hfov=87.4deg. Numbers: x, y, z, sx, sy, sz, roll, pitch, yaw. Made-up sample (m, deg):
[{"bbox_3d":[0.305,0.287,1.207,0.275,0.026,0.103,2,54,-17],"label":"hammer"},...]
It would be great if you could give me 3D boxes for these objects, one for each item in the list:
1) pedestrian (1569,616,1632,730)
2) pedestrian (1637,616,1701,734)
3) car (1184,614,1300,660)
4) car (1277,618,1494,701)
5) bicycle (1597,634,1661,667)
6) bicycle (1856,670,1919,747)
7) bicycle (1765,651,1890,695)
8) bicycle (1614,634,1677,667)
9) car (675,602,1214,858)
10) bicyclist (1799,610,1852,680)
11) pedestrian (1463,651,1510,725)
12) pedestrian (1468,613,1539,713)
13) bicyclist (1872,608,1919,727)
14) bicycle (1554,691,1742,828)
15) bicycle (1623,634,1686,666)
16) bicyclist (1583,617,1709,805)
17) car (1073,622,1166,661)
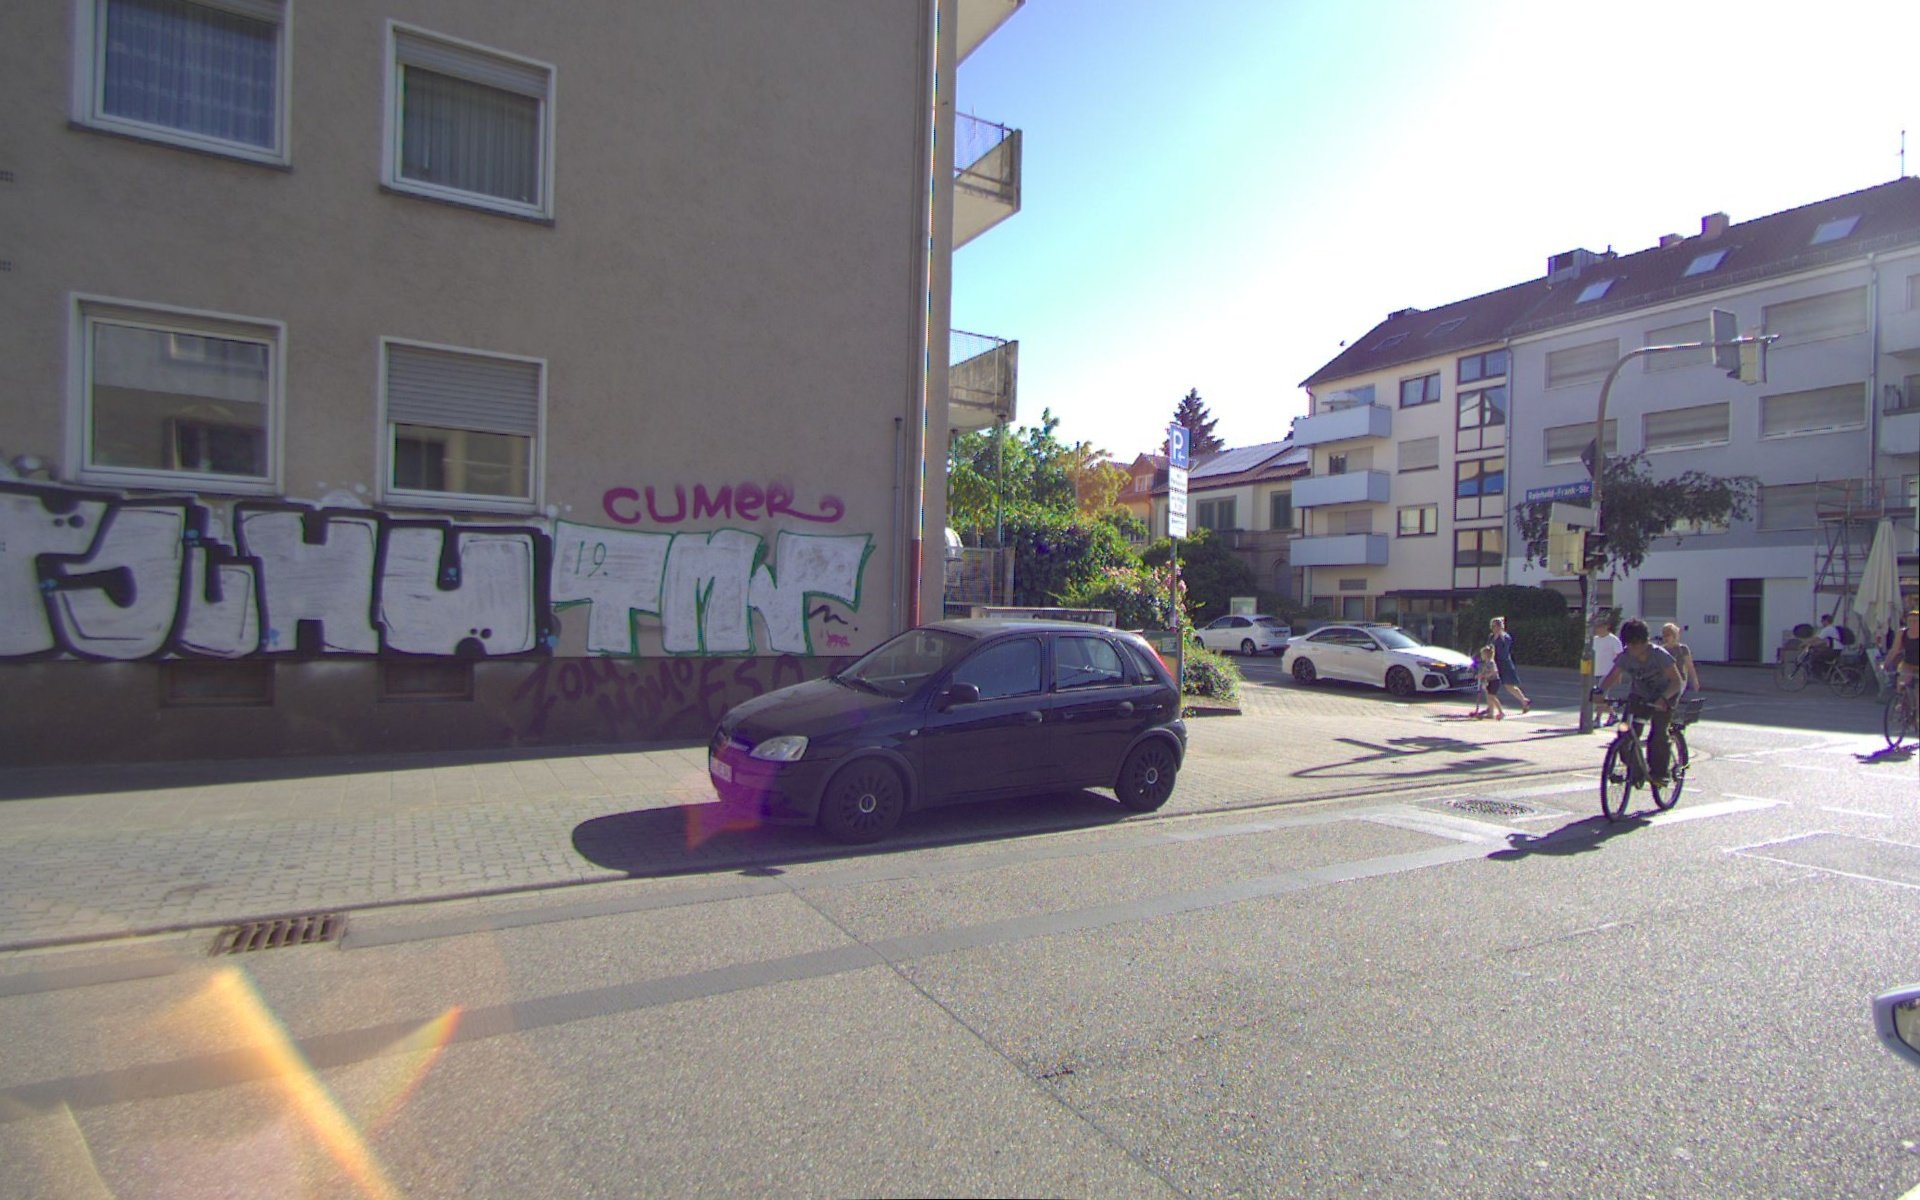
[{"bbox_3d":[9.956,1.113,15.621,0.662,1.711,0.570,1,0,-31],"label":"pedestrian"},{"bbox_3d":[9.891,1.030,14.021,0.556,1.602,0.529,1,0,-29],"label":"pedestrian"},{"bbox_3d":[10.315,1.323,37.022,1.893,1.539,3.968,0,0,-30],"label":"car"},{"bbox_3d":[9.332,1.226,22.390,1.909,1.455,4.237,-2,2,-27],"label":"car"},{"bbox_3d":[20.646,1.536,31.028,0.506,0.952,1.583,1,-1,-27],"label":"bicycle"},{"bbox_3d":[12.609,1.412,13.332,1.805,0.914,0.540,1,0,-30],"label":"bicycle"},{"bbox_3d":[20.013,1.676,23.212,0.550,0.845,2.107,1,0,-40],"label":"bicycle"},{"bbox_3d":[21.377,1.561,31.357,0.506,0.952,1.583,1,-1,-27],"label":"bicycle"},{"bbox_3d":[-0.048,0.825,7.738,3.813,1.468,1.682,1,2,-32],"label":"car"},{"bbox_3d":[20.011,1.035,23.230,0.550,1.569,0.805,1,0,-40],"label":"bicyclist"},{"bbox_3d":[8.536,1.419,16.291,0.522,1.161,0.386,1,0,-6],"label":"pedestrian"},{"bbox_3d":[9.507,1.095,17.577,0.953,1.705,0.573,1,0,-16],"label":"pedestrian"},{"bbox_3d":[12.629,0.880,13.342,0.765,1.541,0.540,1,0,-30],"label":"bicyclist"},{"bbox_3d":[5.550,1.236,8.067,1.805,0.914,0.540,1,0,-31],"label":"bicycle"},{"bbox_3d":[21.911,1.568,31.723,0.506,0.952,1.583,1,-1,-27],"label":"bicycle"},{"bbox_3d":[5.458,0.847,7.997,0.779,1.409,0.540,1,0,-31],"label":"bicyclist"},{"bbox_3d":[6.769,1.716,42.994,1.893,1.449,3.968,-1,1,-30],"label":"car"}]
